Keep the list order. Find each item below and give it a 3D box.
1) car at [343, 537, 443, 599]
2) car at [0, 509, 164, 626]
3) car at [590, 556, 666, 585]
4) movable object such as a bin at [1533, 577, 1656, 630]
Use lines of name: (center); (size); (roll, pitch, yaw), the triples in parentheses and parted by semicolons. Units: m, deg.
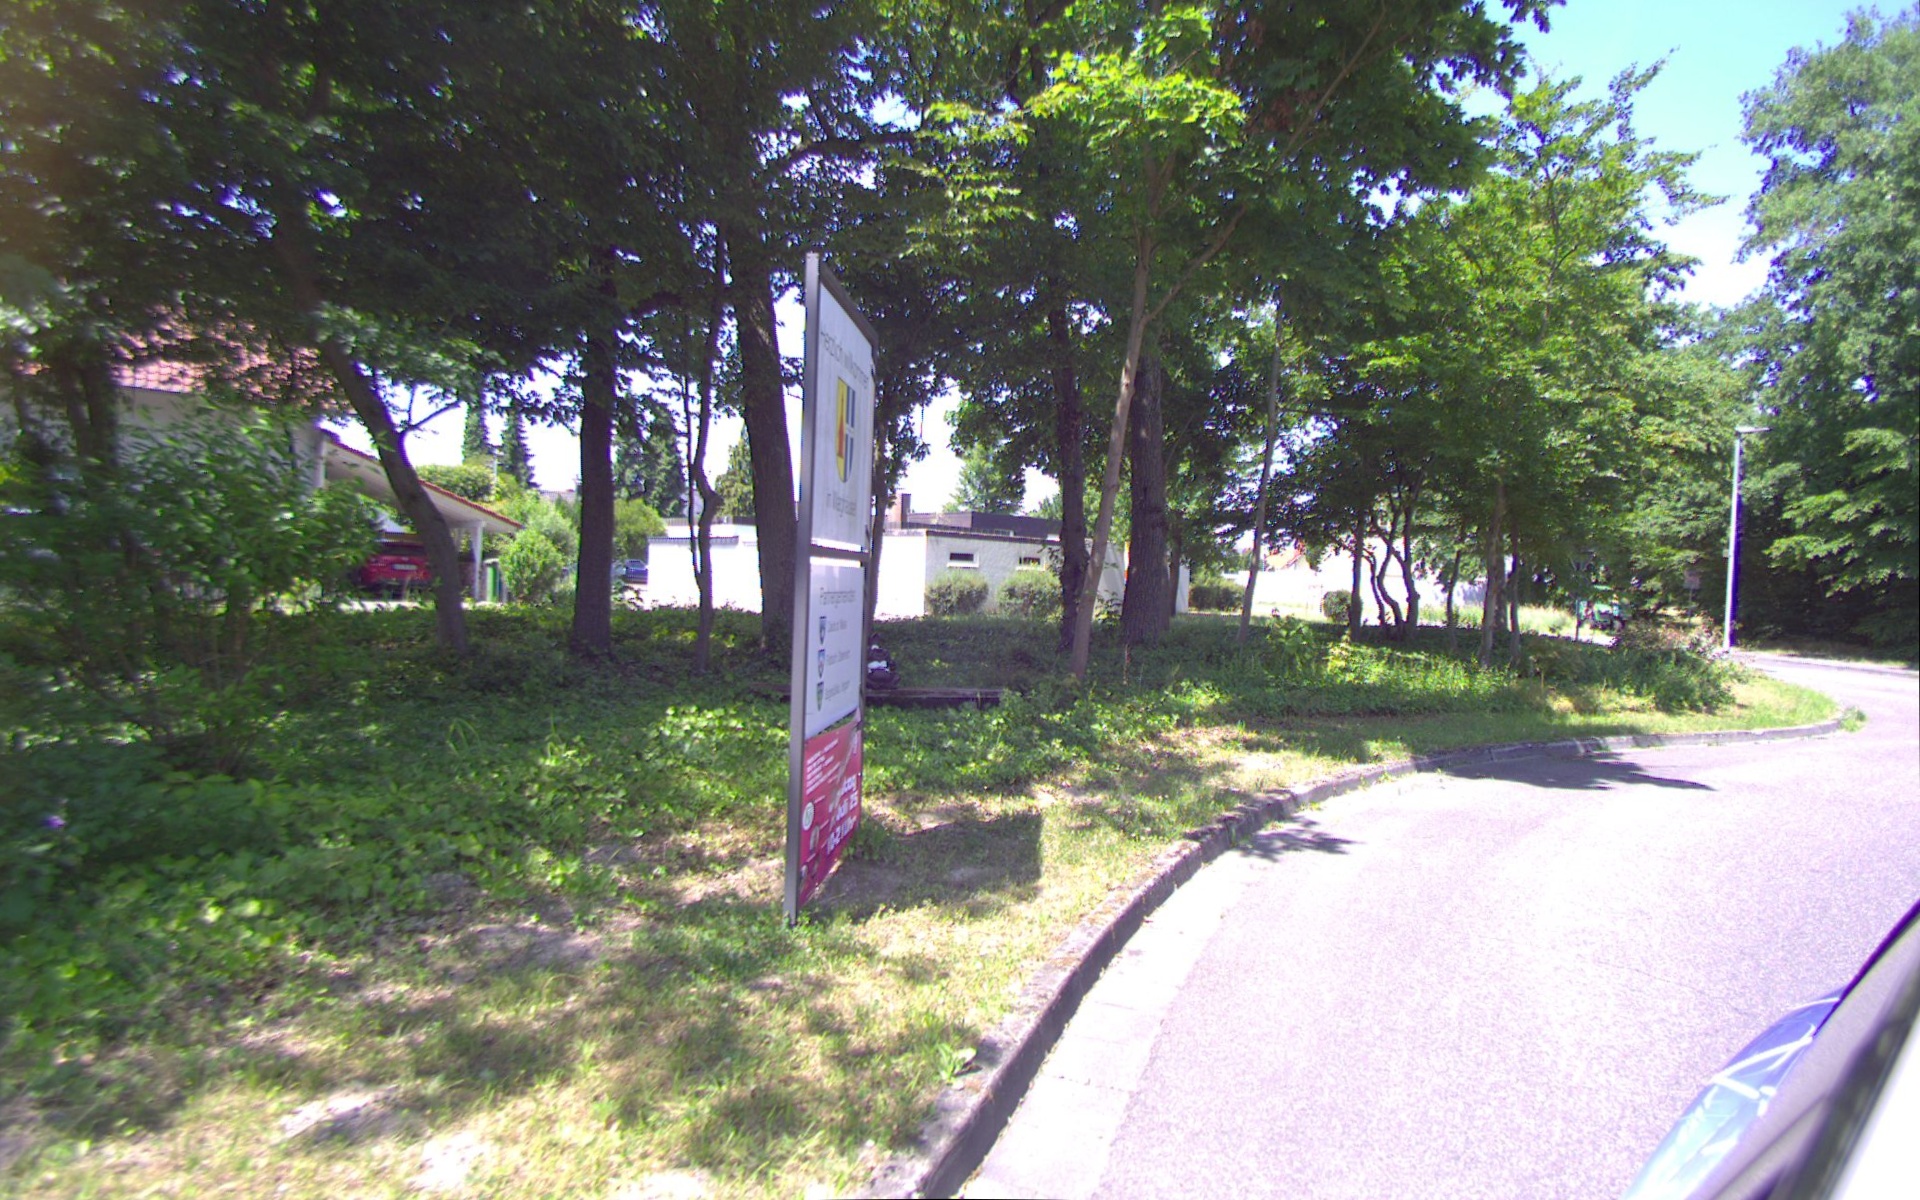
car: (-14.433, -0.838, 25.666); (1.653, 1.402, 3.693); (2, 2, -38)
car: (-14.814, -0.518, 15.450); (4.072, 1.726, 1.663); (1, 1, -42)
car: (-16.482, -1.457, 50.279); (3.222, 1.268, 1.571); (1, 2, -42)
movable object such as a bin: (31.416, 0.104, 50.352); (2.473, 2.304, 5.245); (3, 2, -4)
